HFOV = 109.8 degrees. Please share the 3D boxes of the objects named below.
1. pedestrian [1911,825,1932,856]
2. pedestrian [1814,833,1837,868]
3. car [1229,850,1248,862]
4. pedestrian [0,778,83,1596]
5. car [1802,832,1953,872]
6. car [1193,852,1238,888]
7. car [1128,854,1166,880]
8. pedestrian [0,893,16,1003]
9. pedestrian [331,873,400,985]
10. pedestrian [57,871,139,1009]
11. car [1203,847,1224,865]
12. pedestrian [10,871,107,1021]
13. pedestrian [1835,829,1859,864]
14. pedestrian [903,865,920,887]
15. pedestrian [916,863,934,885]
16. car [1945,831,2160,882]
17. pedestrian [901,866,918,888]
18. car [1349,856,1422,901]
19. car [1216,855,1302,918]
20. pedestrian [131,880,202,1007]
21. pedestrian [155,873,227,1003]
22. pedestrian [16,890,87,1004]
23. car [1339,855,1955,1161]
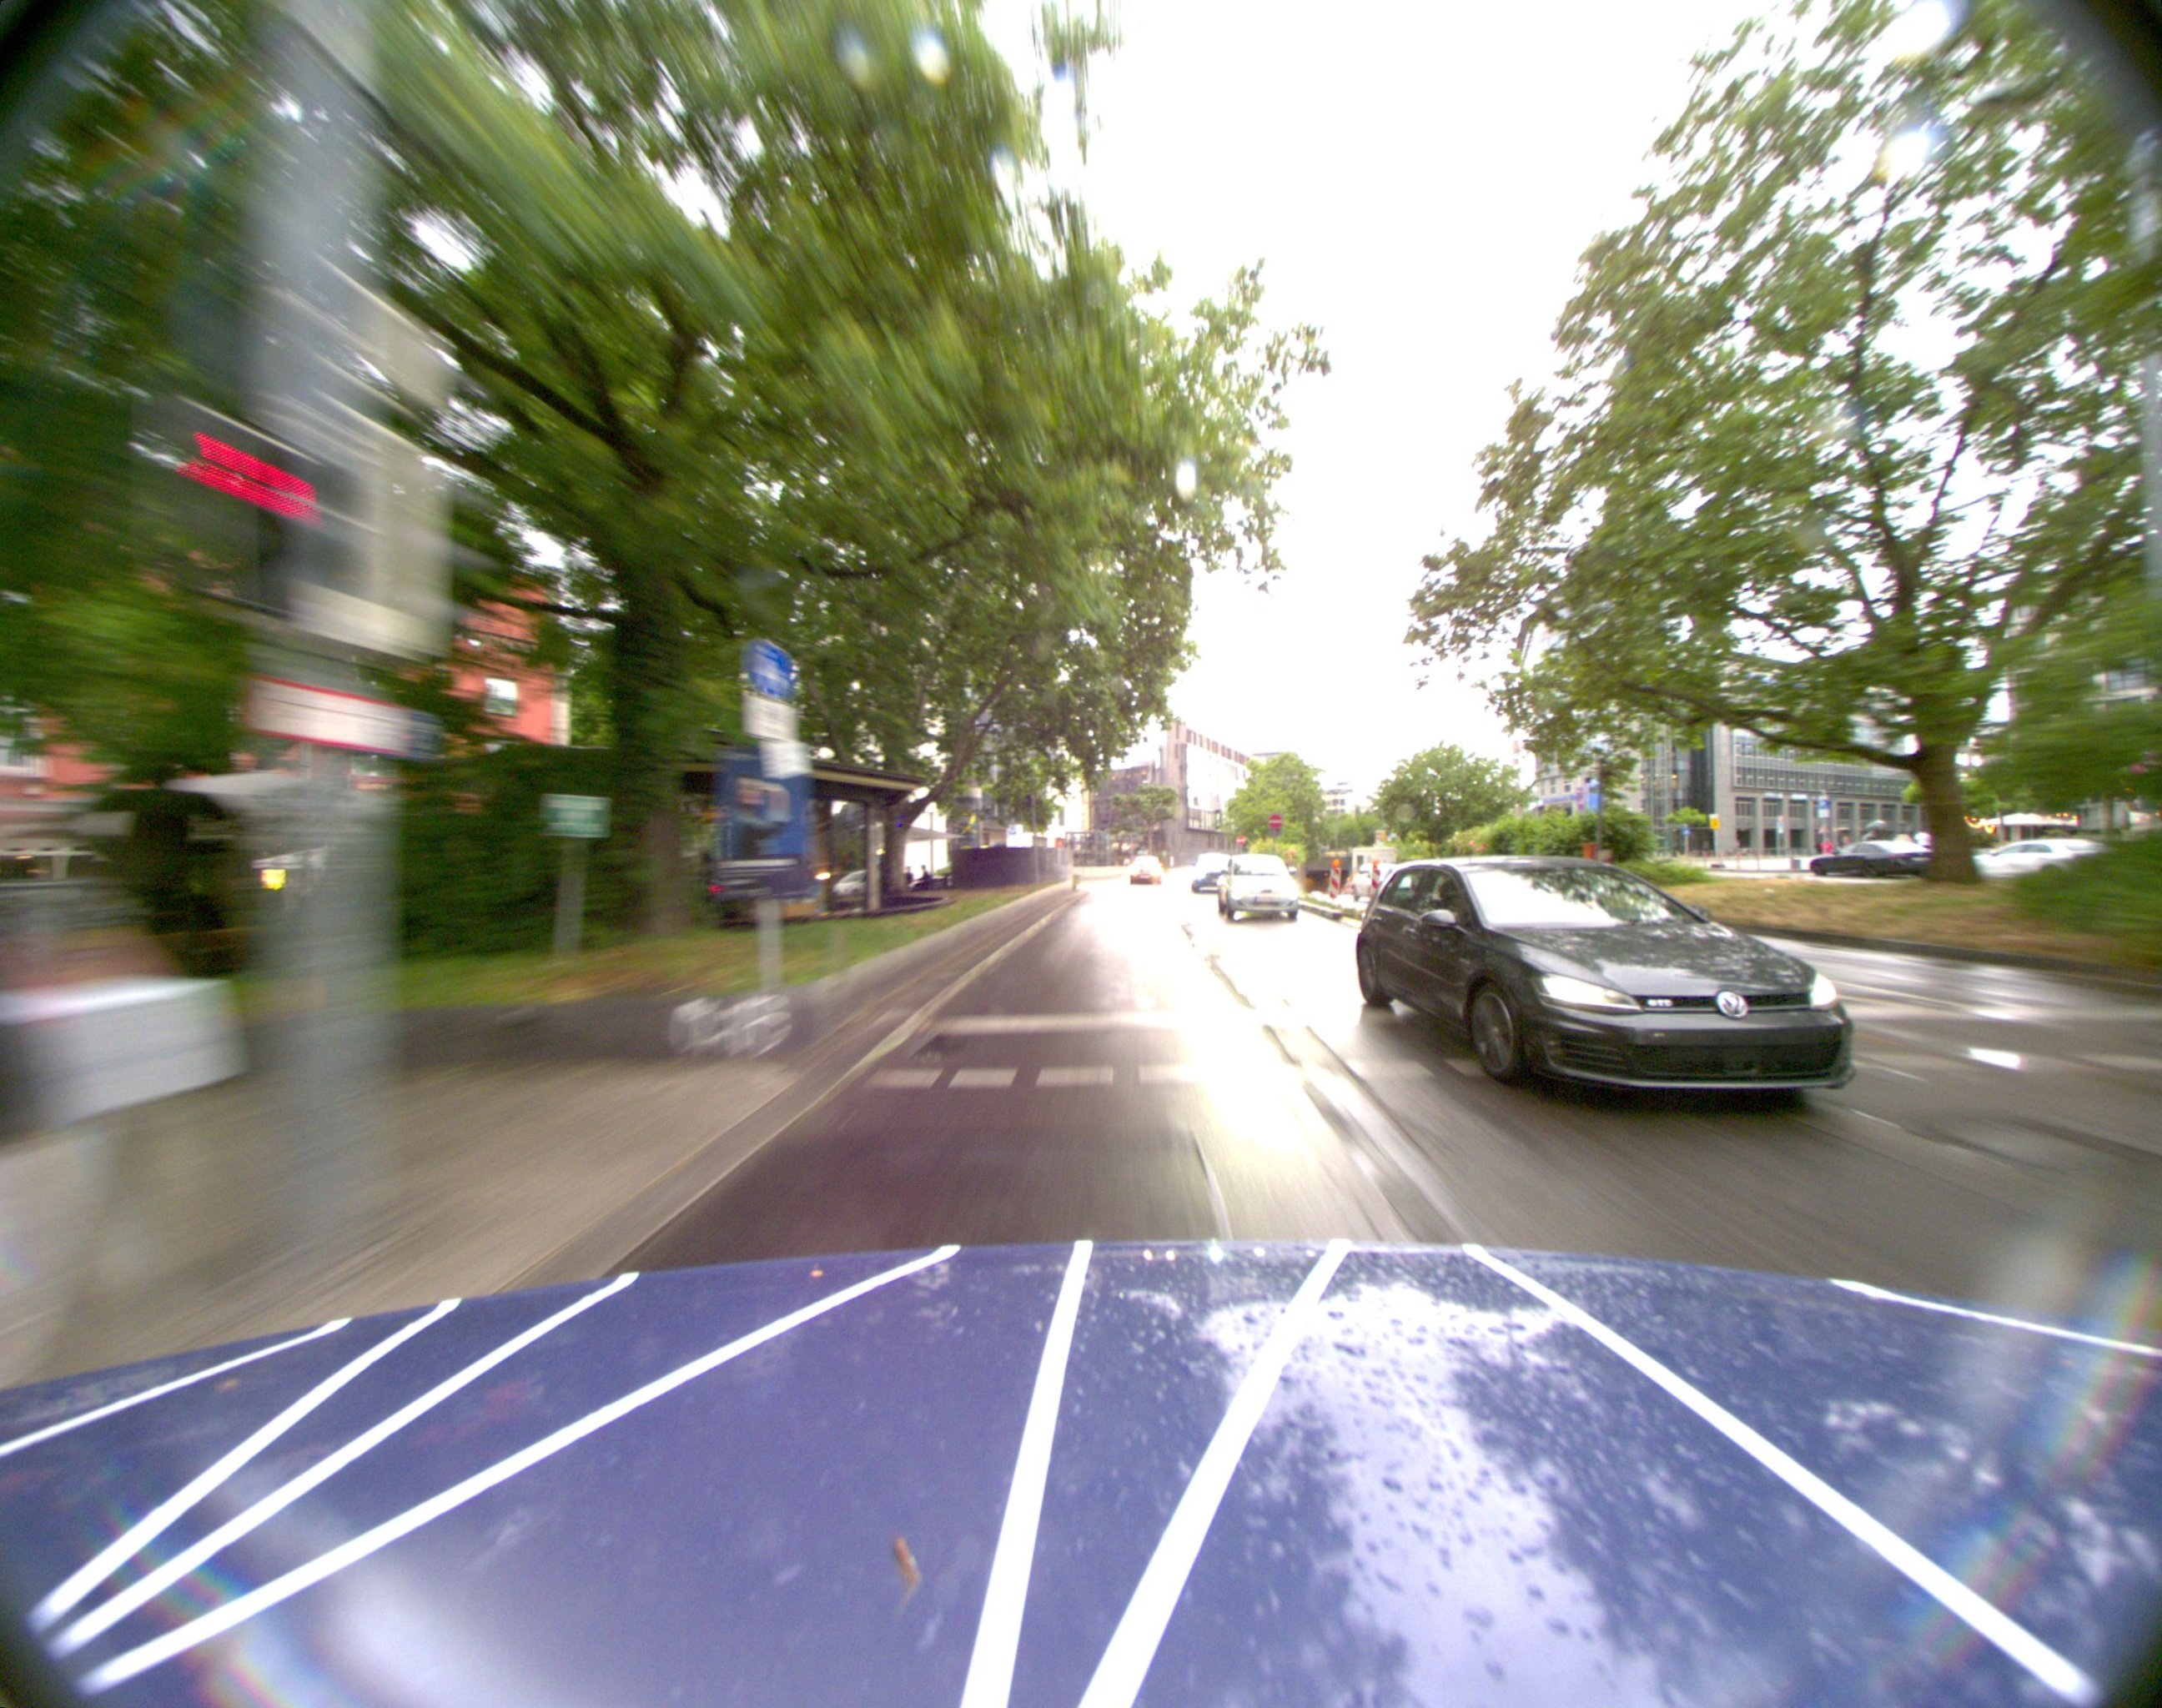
[{"bbox_3d":[43.403,-0.698,39.250,0.577,1.618,0.563,0,2,32],"label":"pedestrian"},{"bbox_3d":[38.720,-0.173,39.523,0.747,1.779,0.424,-3,1,35],"label":"pedestrian"},{"bbox_3d":[24.360,0.298,117.296,1.995,1.733,3.916,-2,0,25],"label":"car"},{"bbox_3d":[-2.761,0.751,1.554,0.634,1.824,0.563,-1,1,7],"label":"pedestrian"},{"bbox_3d":[33.428,-0.117,32.135,2.010,1.525,4.714,-1,1,10],"label":"car"},{"bbox_3d":[5.642,0.629,31.650,1.715,1.433,3.497,0,0,11],"label":"car"},{"bbox_3d":[3.570,0.643,40.547,1.715,1.274,3.496,-1,0,10],"label":"car"},{"bbox_3d":[-16.735,1.442,11.539,0.498,1.671,0.548,-2,1,41],"label":"pedestrian"},{"bbox_3d":[-11.325,1.157,12.030,0.570,1.671,0.684,-2,1,42],"label":"pedestrian"},{"bbox_3d":[-12.470,1.068,9.655,0.498,1.671,0.548,-2,1,41],"label":"pedestrian"},{"bbox_3d":[13.218,0.210,75.765,1.997,1.733,3.913,-2,0,11],"label":"car"},{"bbox_3d":[-13.173,1.155,9.809,0.498,1.825,0.643,-2,1,40],"label":"pedestrian"},{"bbox_3d":[39.319,-0.397,38.986,0.747,1.779,0.473,-3,1,35],"label":"pedestrian"},{"bbox_3d":[-6.962,0.896,31.245,0.574,0.867,0.508,-1,1,-27],"label":"pedestrian"},{"bbox_3d":[-6.275,0.808,30.594,0.574,0.867,0.508,-1,1,-27],"label":"pedestrian"},{"bbox_3d":[32.269,0.053,25.502,2.010,1.525,4.439,-1,1,10],"label":"car"},{"bbox_3d":[-6.842,0.908,30.314,0.574,0.867,0.508,-1,1,-27],"label":"pedestrian"},{"bbox_3d":[12.203,0.924,30.710,1.780,1.587,4.002,-2,1,7],"label":"car"},{"bbox_3d":[4.432,0.760,19.363,1.611,1.433,3.495,0,0,4],"label":"car"},{"bbox_3d":[-12.666,1.209,10.537,0.604,1.671,0.548,-2,1,40],"label":"pedestrian"},{"bbox_3d":[-11.966,1.103,10.227,0.498,1.671,0.548,-2,1,41],"label":"pedestrian"},{"bbox_3d":[-15.879,1.405,11.730,0.498,1.671,0.548,-2,1,41],"label":"pedestrian"},{"bbox_3d":[3.444,0.767,5.770,1.788,1.444,4.124,-2,0,4],"label":"car"}]
